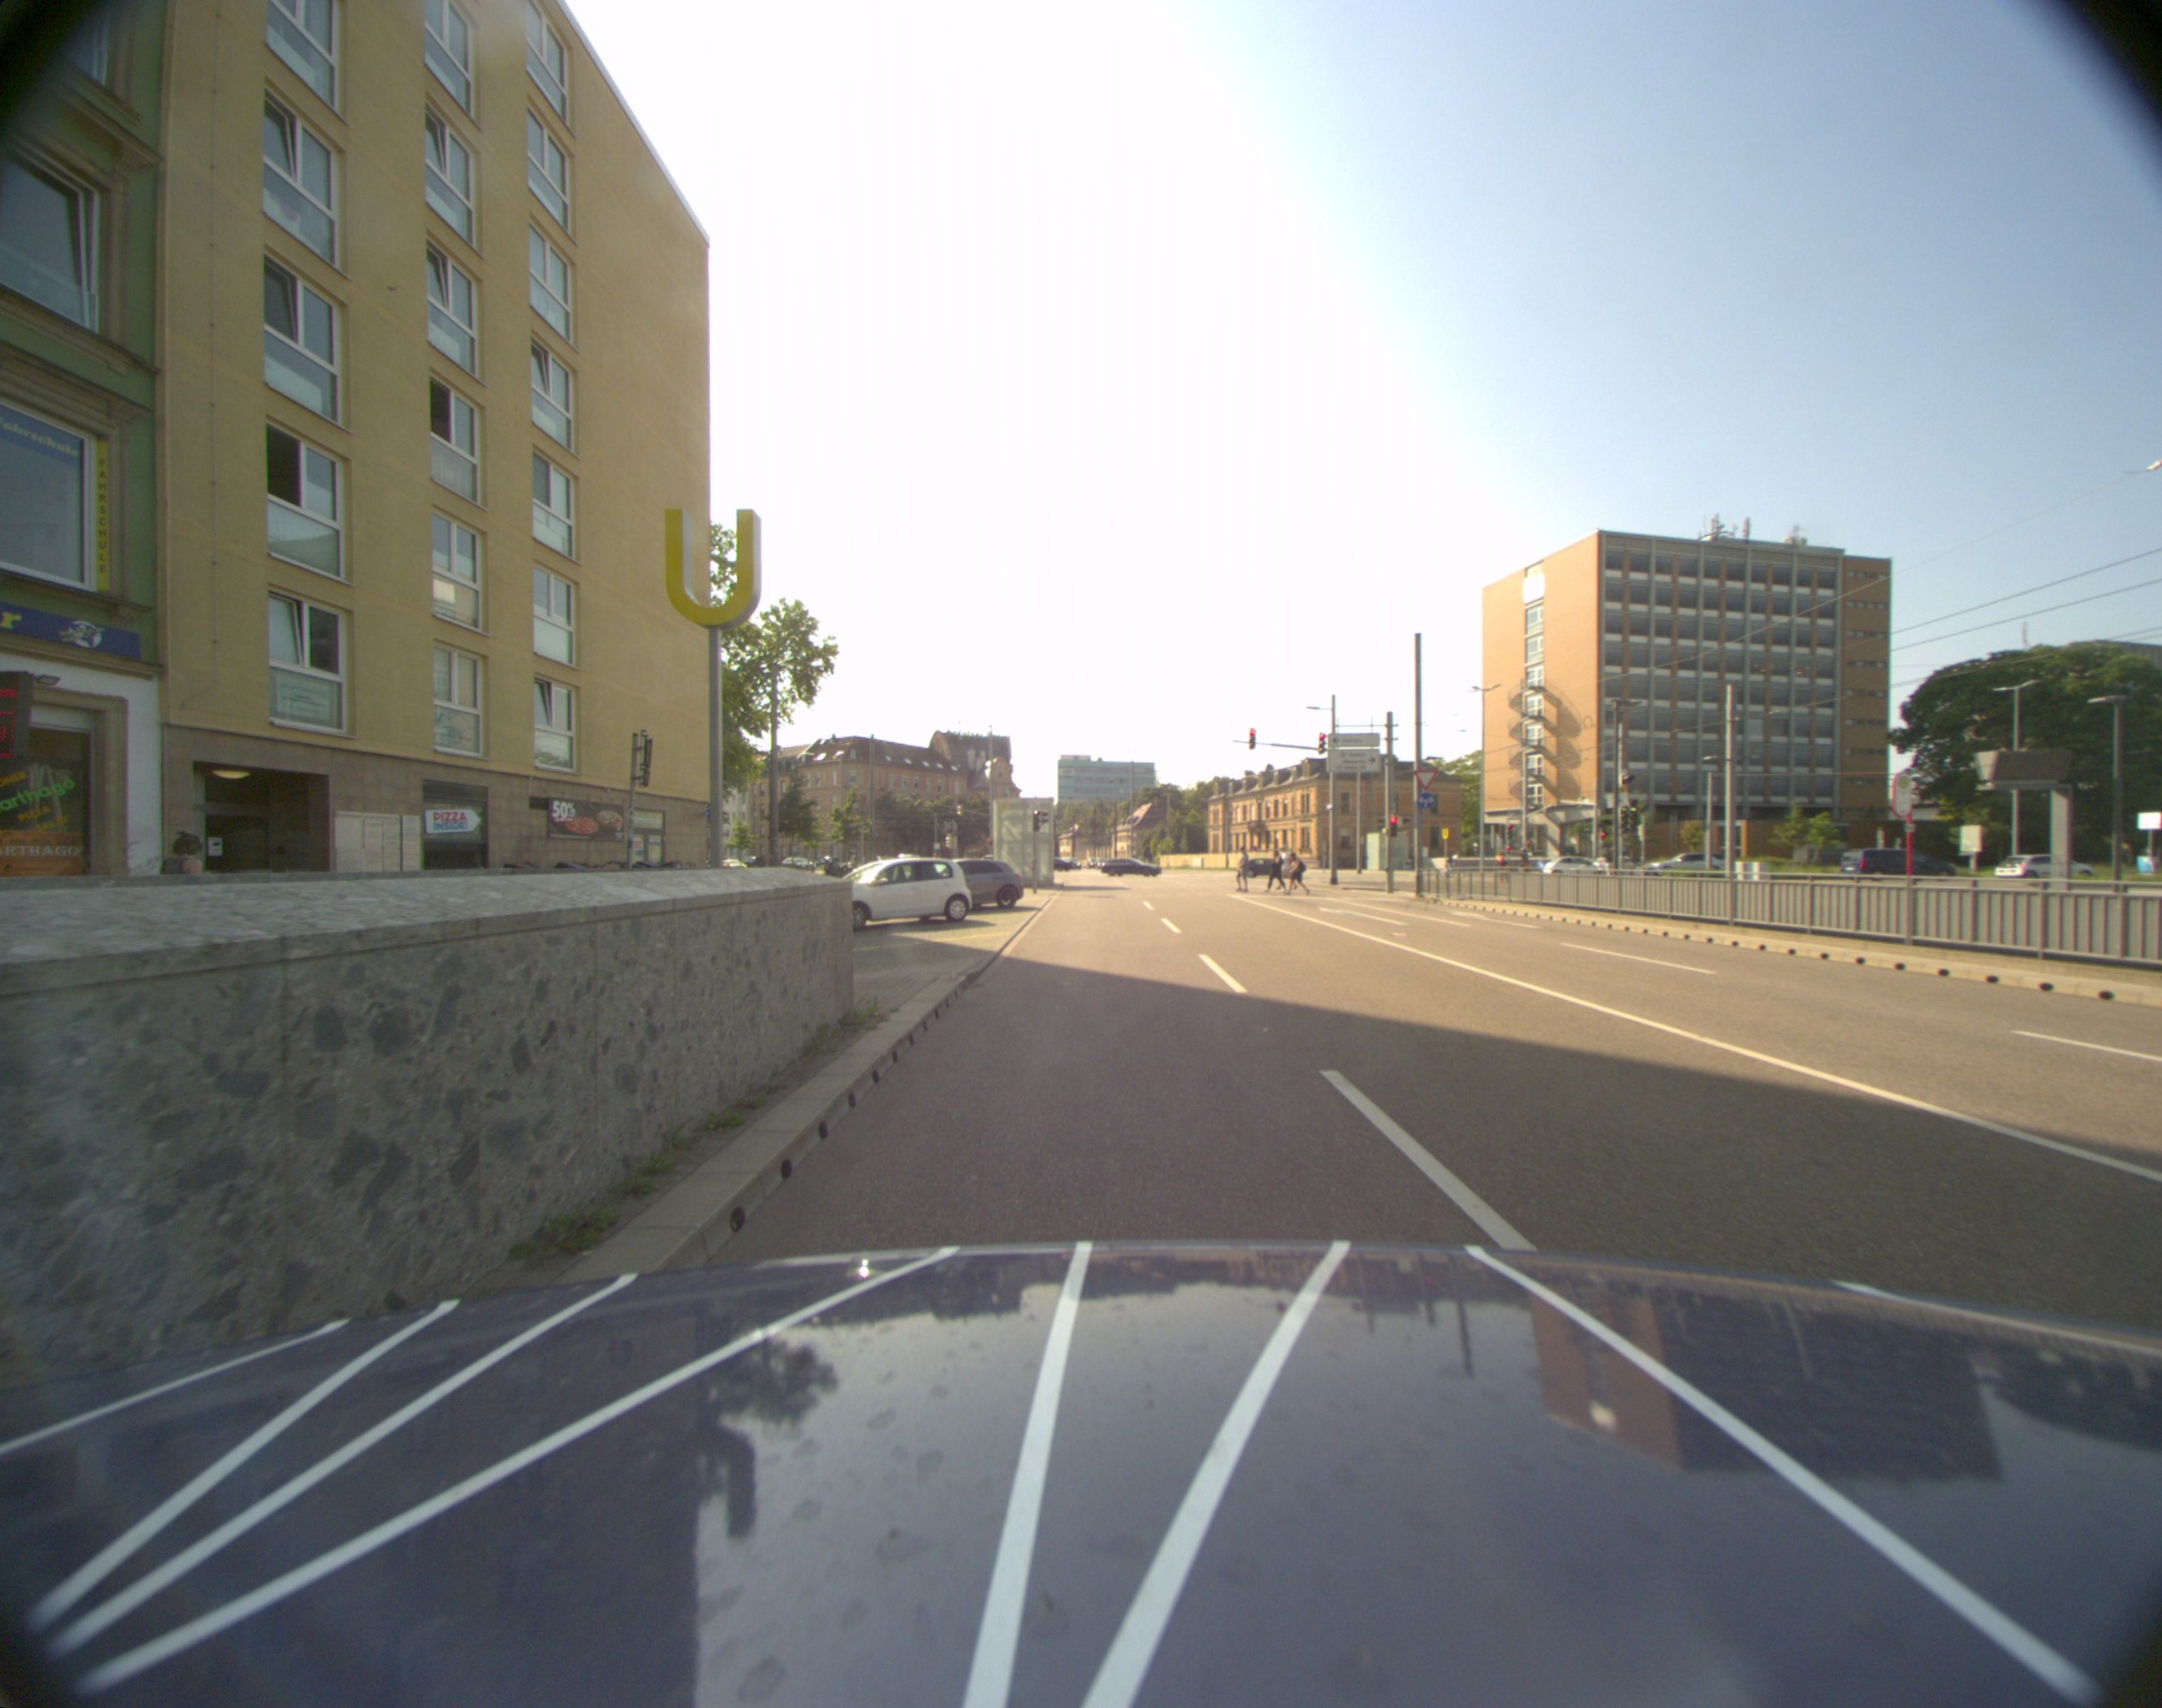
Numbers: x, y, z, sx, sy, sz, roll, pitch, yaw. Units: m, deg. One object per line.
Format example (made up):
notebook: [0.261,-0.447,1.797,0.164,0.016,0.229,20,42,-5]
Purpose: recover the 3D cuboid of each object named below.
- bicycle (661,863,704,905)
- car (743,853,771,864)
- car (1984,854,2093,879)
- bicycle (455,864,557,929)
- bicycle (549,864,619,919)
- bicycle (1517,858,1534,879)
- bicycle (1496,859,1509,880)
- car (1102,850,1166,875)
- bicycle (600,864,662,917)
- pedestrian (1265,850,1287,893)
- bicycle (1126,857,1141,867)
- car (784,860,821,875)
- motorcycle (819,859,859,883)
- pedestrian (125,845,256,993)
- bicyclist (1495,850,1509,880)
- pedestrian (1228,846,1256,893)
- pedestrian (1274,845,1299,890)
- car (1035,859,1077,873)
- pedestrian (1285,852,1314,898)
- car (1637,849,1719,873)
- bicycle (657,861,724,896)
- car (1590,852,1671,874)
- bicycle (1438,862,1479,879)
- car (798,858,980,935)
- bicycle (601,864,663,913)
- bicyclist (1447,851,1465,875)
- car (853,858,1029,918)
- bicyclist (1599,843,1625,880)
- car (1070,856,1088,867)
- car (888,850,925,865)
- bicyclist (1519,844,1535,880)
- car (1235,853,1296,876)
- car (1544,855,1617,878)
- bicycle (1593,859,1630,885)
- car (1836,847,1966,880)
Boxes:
bicycle: [-12.468,0.927,23.821,0.470,1.254,1.636,0,0,0]
car: [-46.644,0.681,109.258,3.965,1.572,1.748,0,-1,32]
car: [56.229,0.697,44.699,3.548,1.427,1.806,0,0,21]
bicycle: [-12.119,0.855,16.101,0.604,1.254,1.997,0,0,1]
bicycle: [-12.163,0.884,18.683,0.604,1.254,1.996,0,0,-7]
bicycle: [24.944,0.810,42.668,0.376,1.158,1.861,0,0,17]
bicycle: [23.639,0.848,42.625,0.311,1.158,1.501,0,0,17]
car: [4.107,0.631,58.815,4.564,1.841,2.003,0,0,23]
bicycle: [-11.458,0.901,19.405,0.604,1.254,1.996,0,0,-7]
pedestrian: [7.349,0.641,28.615,0.634,1.588,0.468,2,1,-1]
bicycle: [6.007,0.906,87.008,1.768,1.187,0.402,0,1,23]
car: [-29.037,1.388,79.280,3.621,1.433,1.807,0,0,32]
motorcycle: [-12.037,0.827,37.814,0.704,1.140,2.304,0,0,17]
pedestrian: [-10.143,0.713,8.683,0.610,1.619,0.737,0,1,2]
bicyclist: [23.636,0.615,42.625,0.511,1.620,0.808,0,0,16]
pedestrian: [5.927,0.551,28.003,0.816,1.683,0.651,2,1,1]
pedestrian: [8.428,0.540,31.233,0.834,1.778,0.729,2,1,9]
car: [-2.735,1.322,82.856,4.315,1.456,1.677,0,-2,21]
pedestrian: [7.651,0.733,26.654,0.809,1.539,0.548,2,1,3]
car: [43.767,0.495,55.805,4.280,1.696,1.955,0,-2,17]
bicycle: [-13.689,0.844,26.656,2.021,1.199,0.671,0,0,1]
car: [36.237,0.574,50.213,3.990,1.407,1.806,0,0,22]
bicycle: [22.717,1.000,45.799,2.192,0.983,0.530,1,2,26]
car: [-4.202,0.857,16.875,3.535,1.455,1.618,-1,1,-40]
bicycle: [-12.299,0.925,20.873,0.604,1.254,1.849,0,0,0]
bicyclist: [22.596,0.531,45.780,0.969,1.466,1.089,1,1,27]
car: [-3.758,0.847,20.918,4.418,1.415,1.842,-1,1,-40]
bicyclist: [23.545,0.337,33.707,0.588,1.647,0.790,0,1,1]
car: [-0.263,1.004,103.176,1.927,1.368,3.997,0,0,-7]
car: [-21.490,0.448,93.629,4.278,1.875,1.799,0,-2,29]
bicyclist: [24.834,0.436,42.291,0.580,1.963,0.808,0,0,16]
car: [13.333,0.729,54.863,3.990,1.586,2.003,0,0,24]
car: [31.670,0.777,48.293,3.607,1.407,1.806,0,0,21]
bicycle: [23.533,0.796,33.750,0.402,1.103,1.746,0,0,0]
car: [47.329,0.514,43.985,4.761,1.817,1.806,0,0,24]
